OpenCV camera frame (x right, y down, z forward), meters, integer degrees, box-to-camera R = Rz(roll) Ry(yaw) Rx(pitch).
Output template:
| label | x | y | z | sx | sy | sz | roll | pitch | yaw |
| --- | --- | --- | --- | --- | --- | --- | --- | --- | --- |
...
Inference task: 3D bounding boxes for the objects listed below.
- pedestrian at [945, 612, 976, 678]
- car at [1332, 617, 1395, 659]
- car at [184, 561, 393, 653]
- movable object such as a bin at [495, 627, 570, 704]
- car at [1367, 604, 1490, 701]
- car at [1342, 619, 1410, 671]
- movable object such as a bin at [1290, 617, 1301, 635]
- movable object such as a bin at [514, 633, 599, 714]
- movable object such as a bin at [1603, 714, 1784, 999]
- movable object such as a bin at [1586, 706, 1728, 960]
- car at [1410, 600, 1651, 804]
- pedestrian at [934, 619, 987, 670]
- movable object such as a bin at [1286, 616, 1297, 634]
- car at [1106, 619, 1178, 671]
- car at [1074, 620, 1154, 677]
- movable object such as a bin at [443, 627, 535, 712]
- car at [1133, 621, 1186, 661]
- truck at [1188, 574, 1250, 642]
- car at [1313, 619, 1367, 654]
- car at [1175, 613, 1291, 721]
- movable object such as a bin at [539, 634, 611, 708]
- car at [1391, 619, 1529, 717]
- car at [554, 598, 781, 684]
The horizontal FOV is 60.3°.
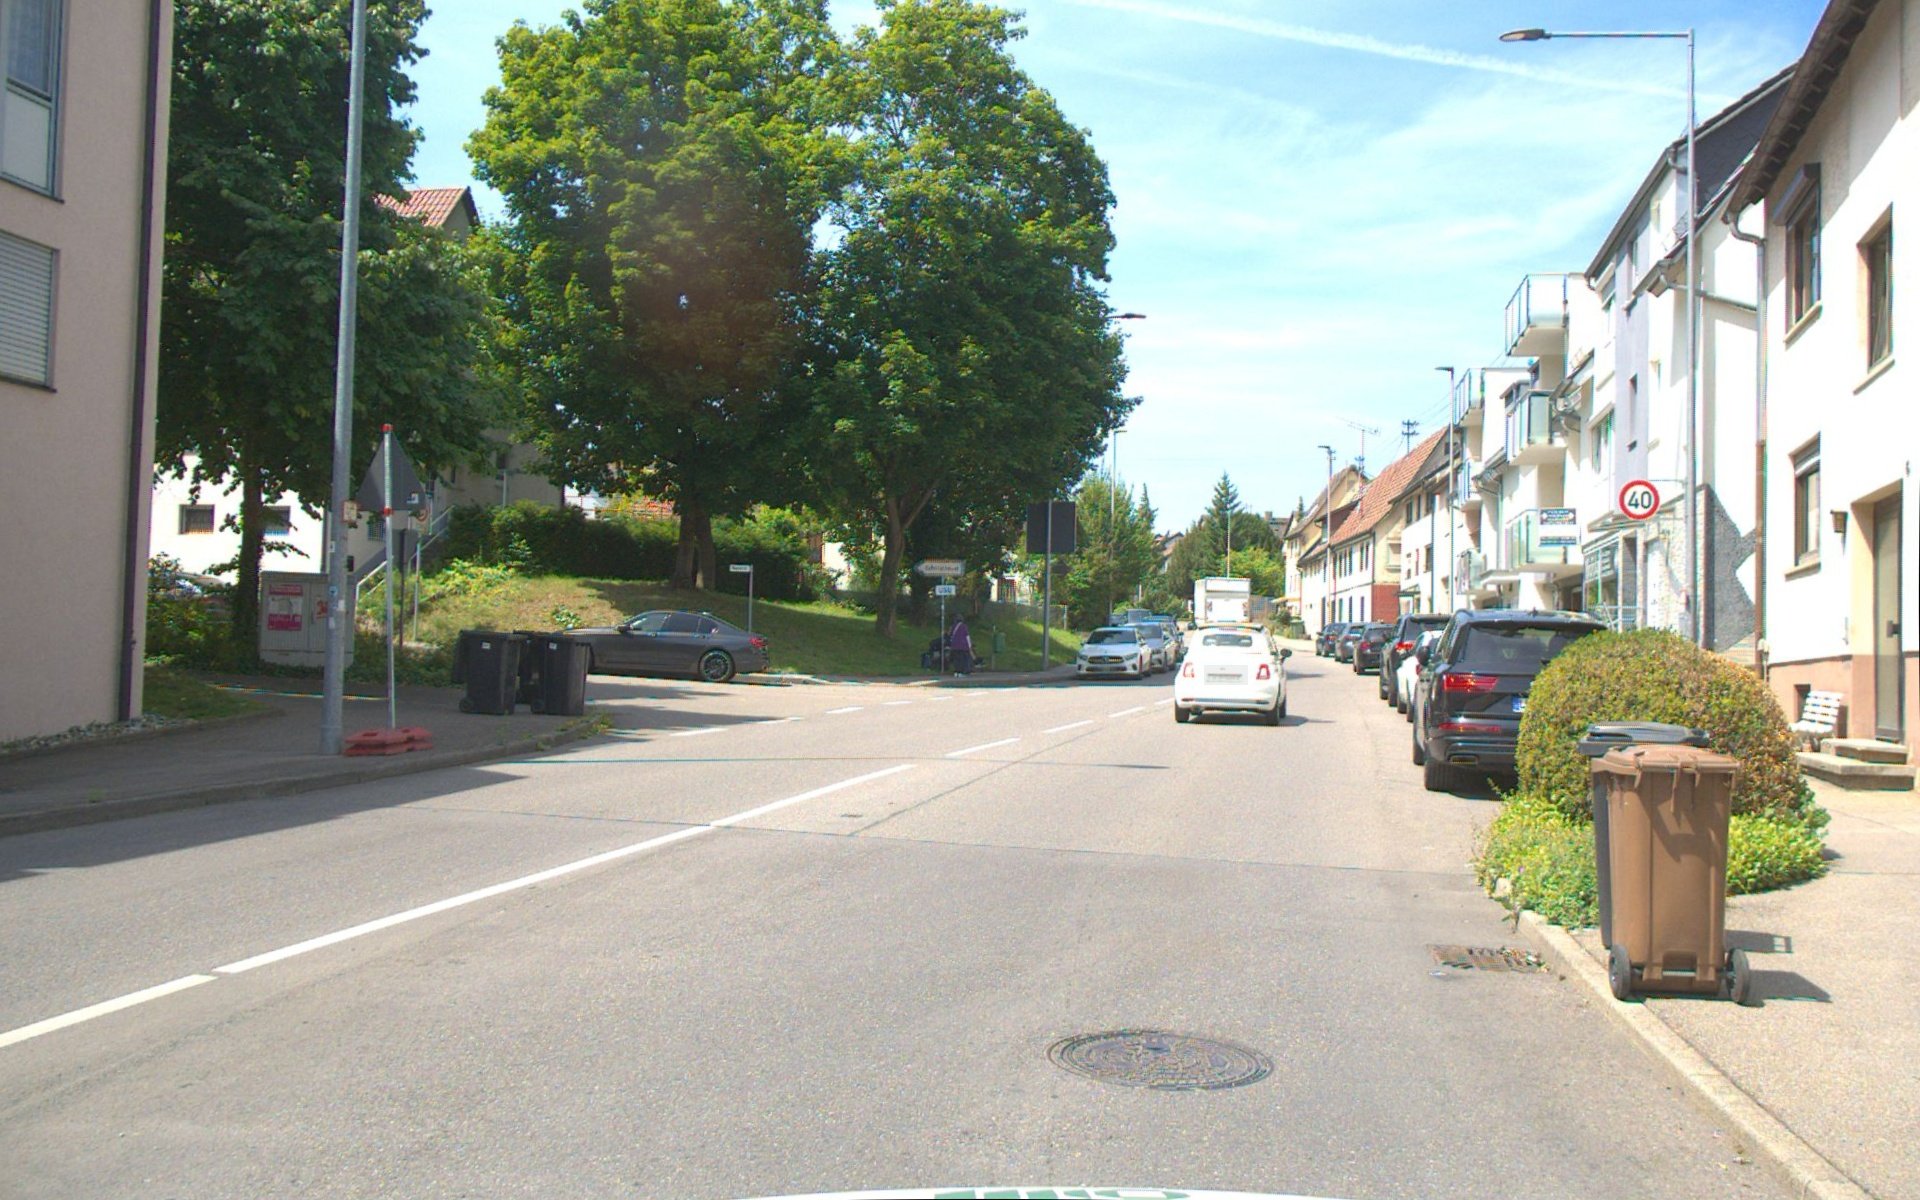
| label | x | y | z | sx | sy | sz | roll | pitch | yaw |
| --- | --- | --- | --- | --- | --- | --- | --- | --- | --- |
| pedestrian | 0.014 | 1.142 | 42.145 | 0.716 | 1.645 | 0.629 | 2 | -1 | -4 |
| car | 14.505 | 1.352 | 59.632 | 1.755 | 1.427 | 4.415 | -1 | -1 | 8 |
| car | -15.004 | 0.177 | 37.009 | 3.904 | 1.713 | 1.910 | 4 | -1 | 17 |
| movable object such as a bin | -6.135 | 0.942 | 23.750 | 0.755 | 1.017 | 0.609 | 4 | -2 | 15 |
| car | 9.242 | 1.000 | 32.961 | 1.912 | 1.746 | 4.720 | -2 | -1 | 11 |
| car | 12.220 | 1.308 | 48.800 | 1.758 | 1.449 | 4.293 | -1 | -1 | 12 |
| movable object such as a bin | 20.251 | 1.548 | 99.869 | 0.535 | 1.051 | 0.552 | -2 | 0 | 4 |
| movable object such as a bin | -5.308 | 0.960 | 21.784 | 0.833 | 1.018 | 0.694 | 1 | -1 | 15 |
| movable object such as a bin | 2.838 | 0.974 | 6.435 | 0.489 | 1.011 | 0.504 | 2 | -1 | 5 |
| movable object such as a bin | 3.055 | 0.993 | 7.239 | 0.514 | 1.011 | 0.501 | 2 | 0 | 27 |
| car | 5.578 | 0.921 | 16.679 | 1.804 | 1.699 | 4.659 | 2 | -1 | 13 |
| pedestrian | 0.011 | 1.169 | 43.879 | 1.210 | 1.291 | 0.647 | 2 | -1 | 17 |
| movable object such as a bin | 20.393 | 1.542 | 101.671 | 0.535 | 1.051 | 0.552 | -2 | 0 | 4 |
| car | 5.806 | 1.394 | 52.374 | 1.734 | 1.554 | 4.225 | -1 | -1 | 14 |
| car | 4.390 | 1.337 | 46.577 | 1.717 | 1.493 | 4.366 | -1 | -1 | 12 |
| movable object such as a bin | -6.040 | 0.879 | 21.232 | 0.783 | 1.018 | 0.805 | 3 | -1 | 15 |
| car | 7.755 | 1.556 | 63.960 | 1.766 | 1.448 | 4.932 | -1 | 0 | 10 |
| truck | 15.062 | 0.532 | 96.547 | 3.004 | 3.840 | 7.871 | 0 | -1 | 5 |
| car | 15.640 | 1.487 | 68.307 | 1.630 | 1.376 | 4.189 | 1 | 0 | 5 |
| car | 4.469 | 1.022 | 26.686 | 1.688 | 1.587 | 4.003 | 0 | -1 | 12 |
| movable object such as a bin | -5.741 | 1.060 | 24.692 | 0.755 | 1.017 | 0.609 | 4 | -2 | 16 |
| car | 8.353 | 1.079 | 27.978 | 1.750 | 1.481 | 4.720 | 0 | 0 | 11 |
| car | -6.379 | 0.903 | 36.514 | 4.684 | 1.505 | 1.997 | 4 | -1 | -6 |
